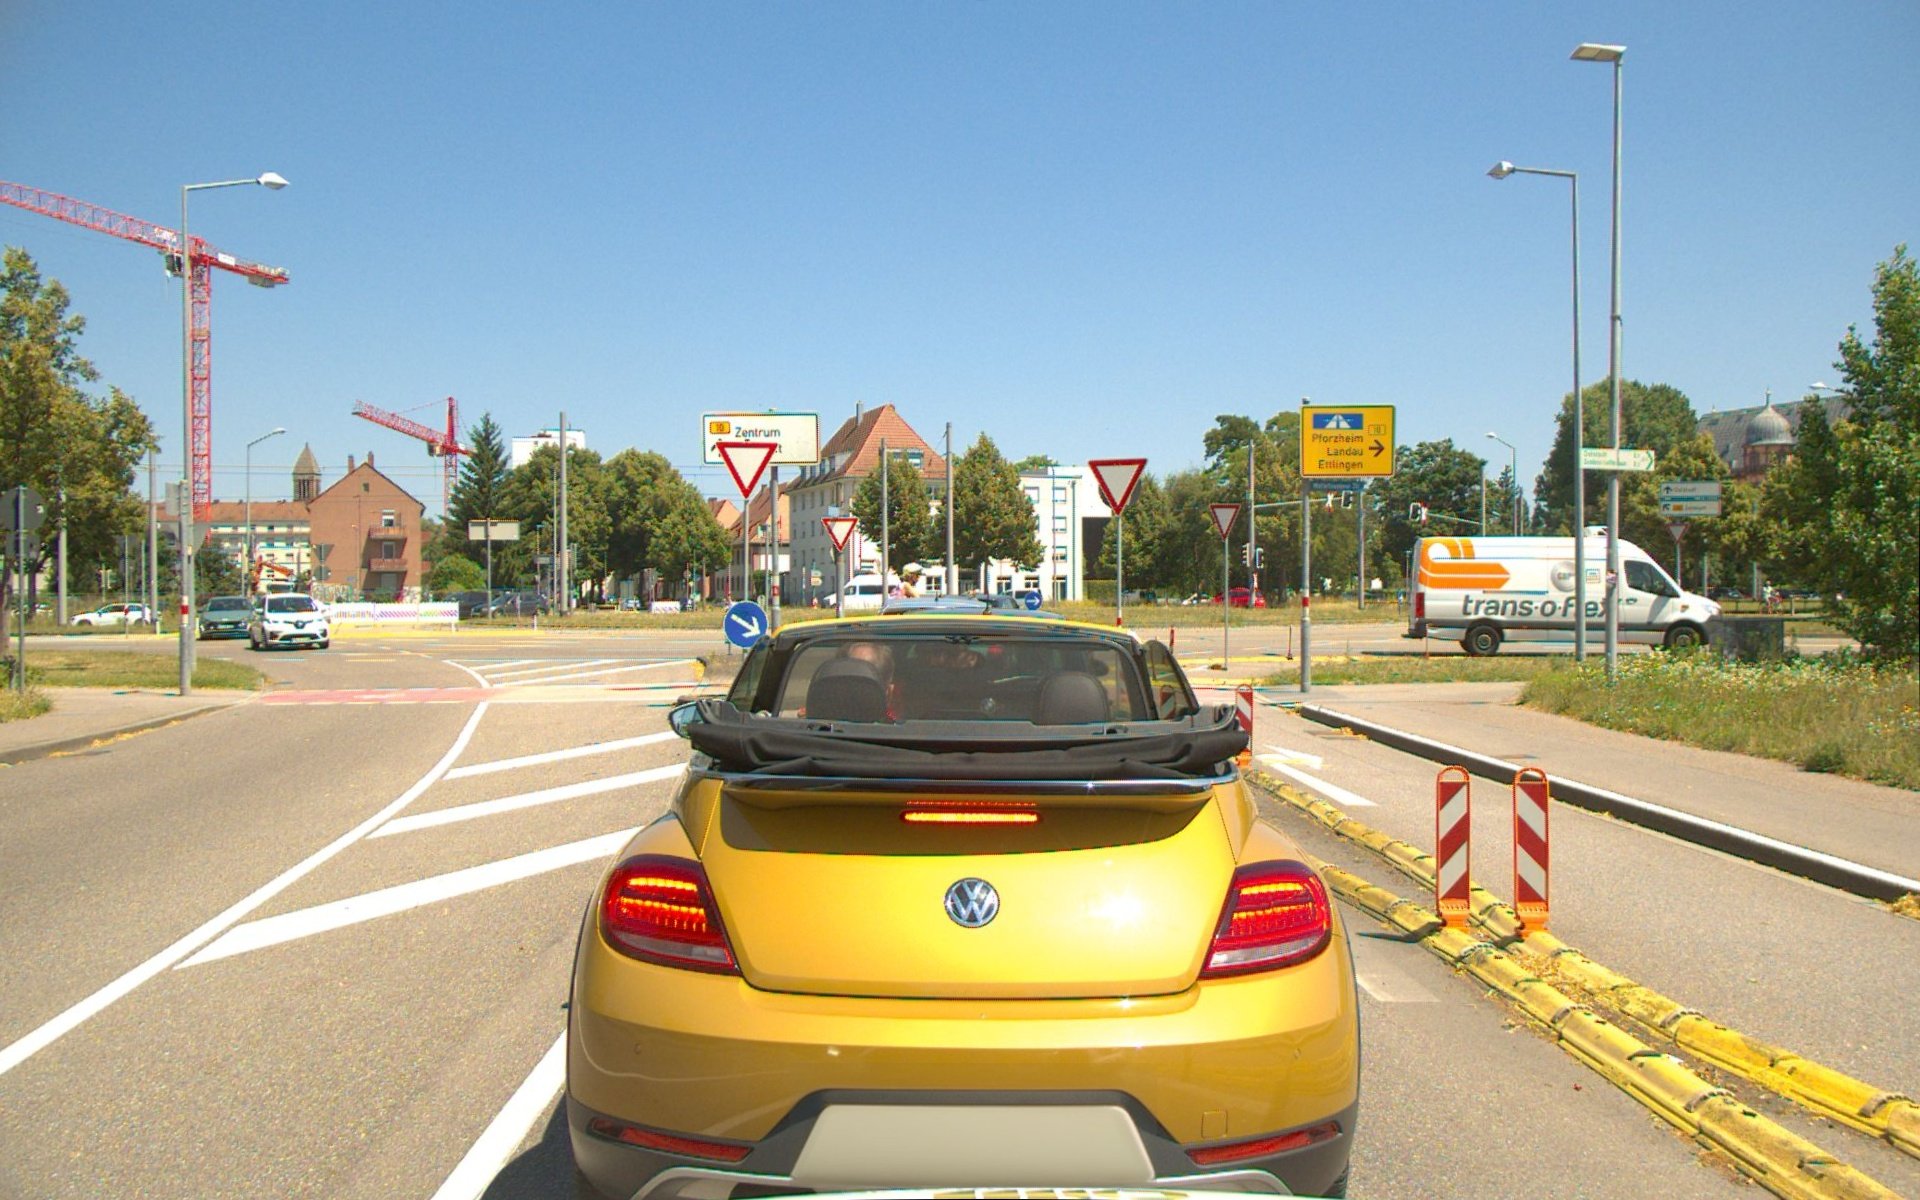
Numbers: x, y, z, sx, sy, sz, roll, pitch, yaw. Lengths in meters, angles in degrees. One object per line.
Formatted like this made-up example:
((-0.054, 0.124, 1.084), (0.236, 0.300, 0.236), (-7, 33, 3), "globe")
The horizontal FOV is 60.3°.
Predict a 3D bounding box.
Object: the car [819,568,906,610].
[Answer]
((-5.933, -0.633, 100.770), (5.206, 2.439, 1.992), (1, 0, -5), "car")

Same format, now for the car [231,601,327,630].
((-34.216, 0.794, 83.167), (4.271, 1.395, 1.734), (1, 0, -30), "car")

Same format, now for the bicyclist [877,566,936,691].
((-0.775, 0.409, 24.110), (0.656, 1.783, 0.592), (-1, 1, 20), "bicyclist")

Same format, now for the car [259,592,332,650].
((-18.919, 0.570, 47.003), (1.753, 1.554, 3.843), (-1, 0, -24), "car")

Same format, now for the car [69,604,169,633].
((-42.617, 0.926, 83.915), (4.247, 1.395, 1.744), (1, 0, -17), "car")

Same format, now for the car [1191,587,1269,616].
((16.342, 0.059, 100.180), (4.265, 1.683, 1.891), (1, 0, 39), "car")

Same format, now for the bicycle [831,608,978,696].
((-0.810, 0.744, 24.100), (2.049, 1.242, 0.634), (-1, 0, 22), "bicycle")

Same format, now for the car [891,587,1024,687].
((-0.074, 0.556, 27.576), (2.023, 1.506, 4.542), (-1, 0, -1), "car")

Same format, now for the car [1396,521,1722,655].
((13.515, -0.288, 37.750), (6.715, 2.877, 2.002), (1, 0, 10), "car")

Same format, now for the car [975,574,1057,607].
((3.763, -0.618, 110.425), (5.197, 2.107, 1.996), (1, 0, 9), "car")

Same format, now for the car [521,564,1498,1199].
((0.063, 0.712, 5.080), (1.729, 1.507, 4.257), (1, 0, -1), "car")

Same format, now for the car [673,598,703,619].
((-23.911, 0.711, 145.283), (1.856, 1.803, 3.977), (1, 0, -19), "car")

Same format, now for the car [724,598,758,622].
((-17.130, 0.760, 129.106), (1.856, 1.803, 3.977), (1, 0, -19), "car")

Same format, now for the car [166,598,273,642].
((-24.746, 0.661, 55.406), (1.711, 1.395, 4.329), (1, 0, -2), "car")

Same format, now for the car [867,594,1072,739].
((0.074, 0.667, 18.581), (2.023, 1.406, 4.257), (1, 0, -1), "car")

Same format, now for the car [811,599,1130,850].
((0.031, 0.710, 11.617), (1.814, 1.389, 4.257), (-1, 0, -1), "car")
